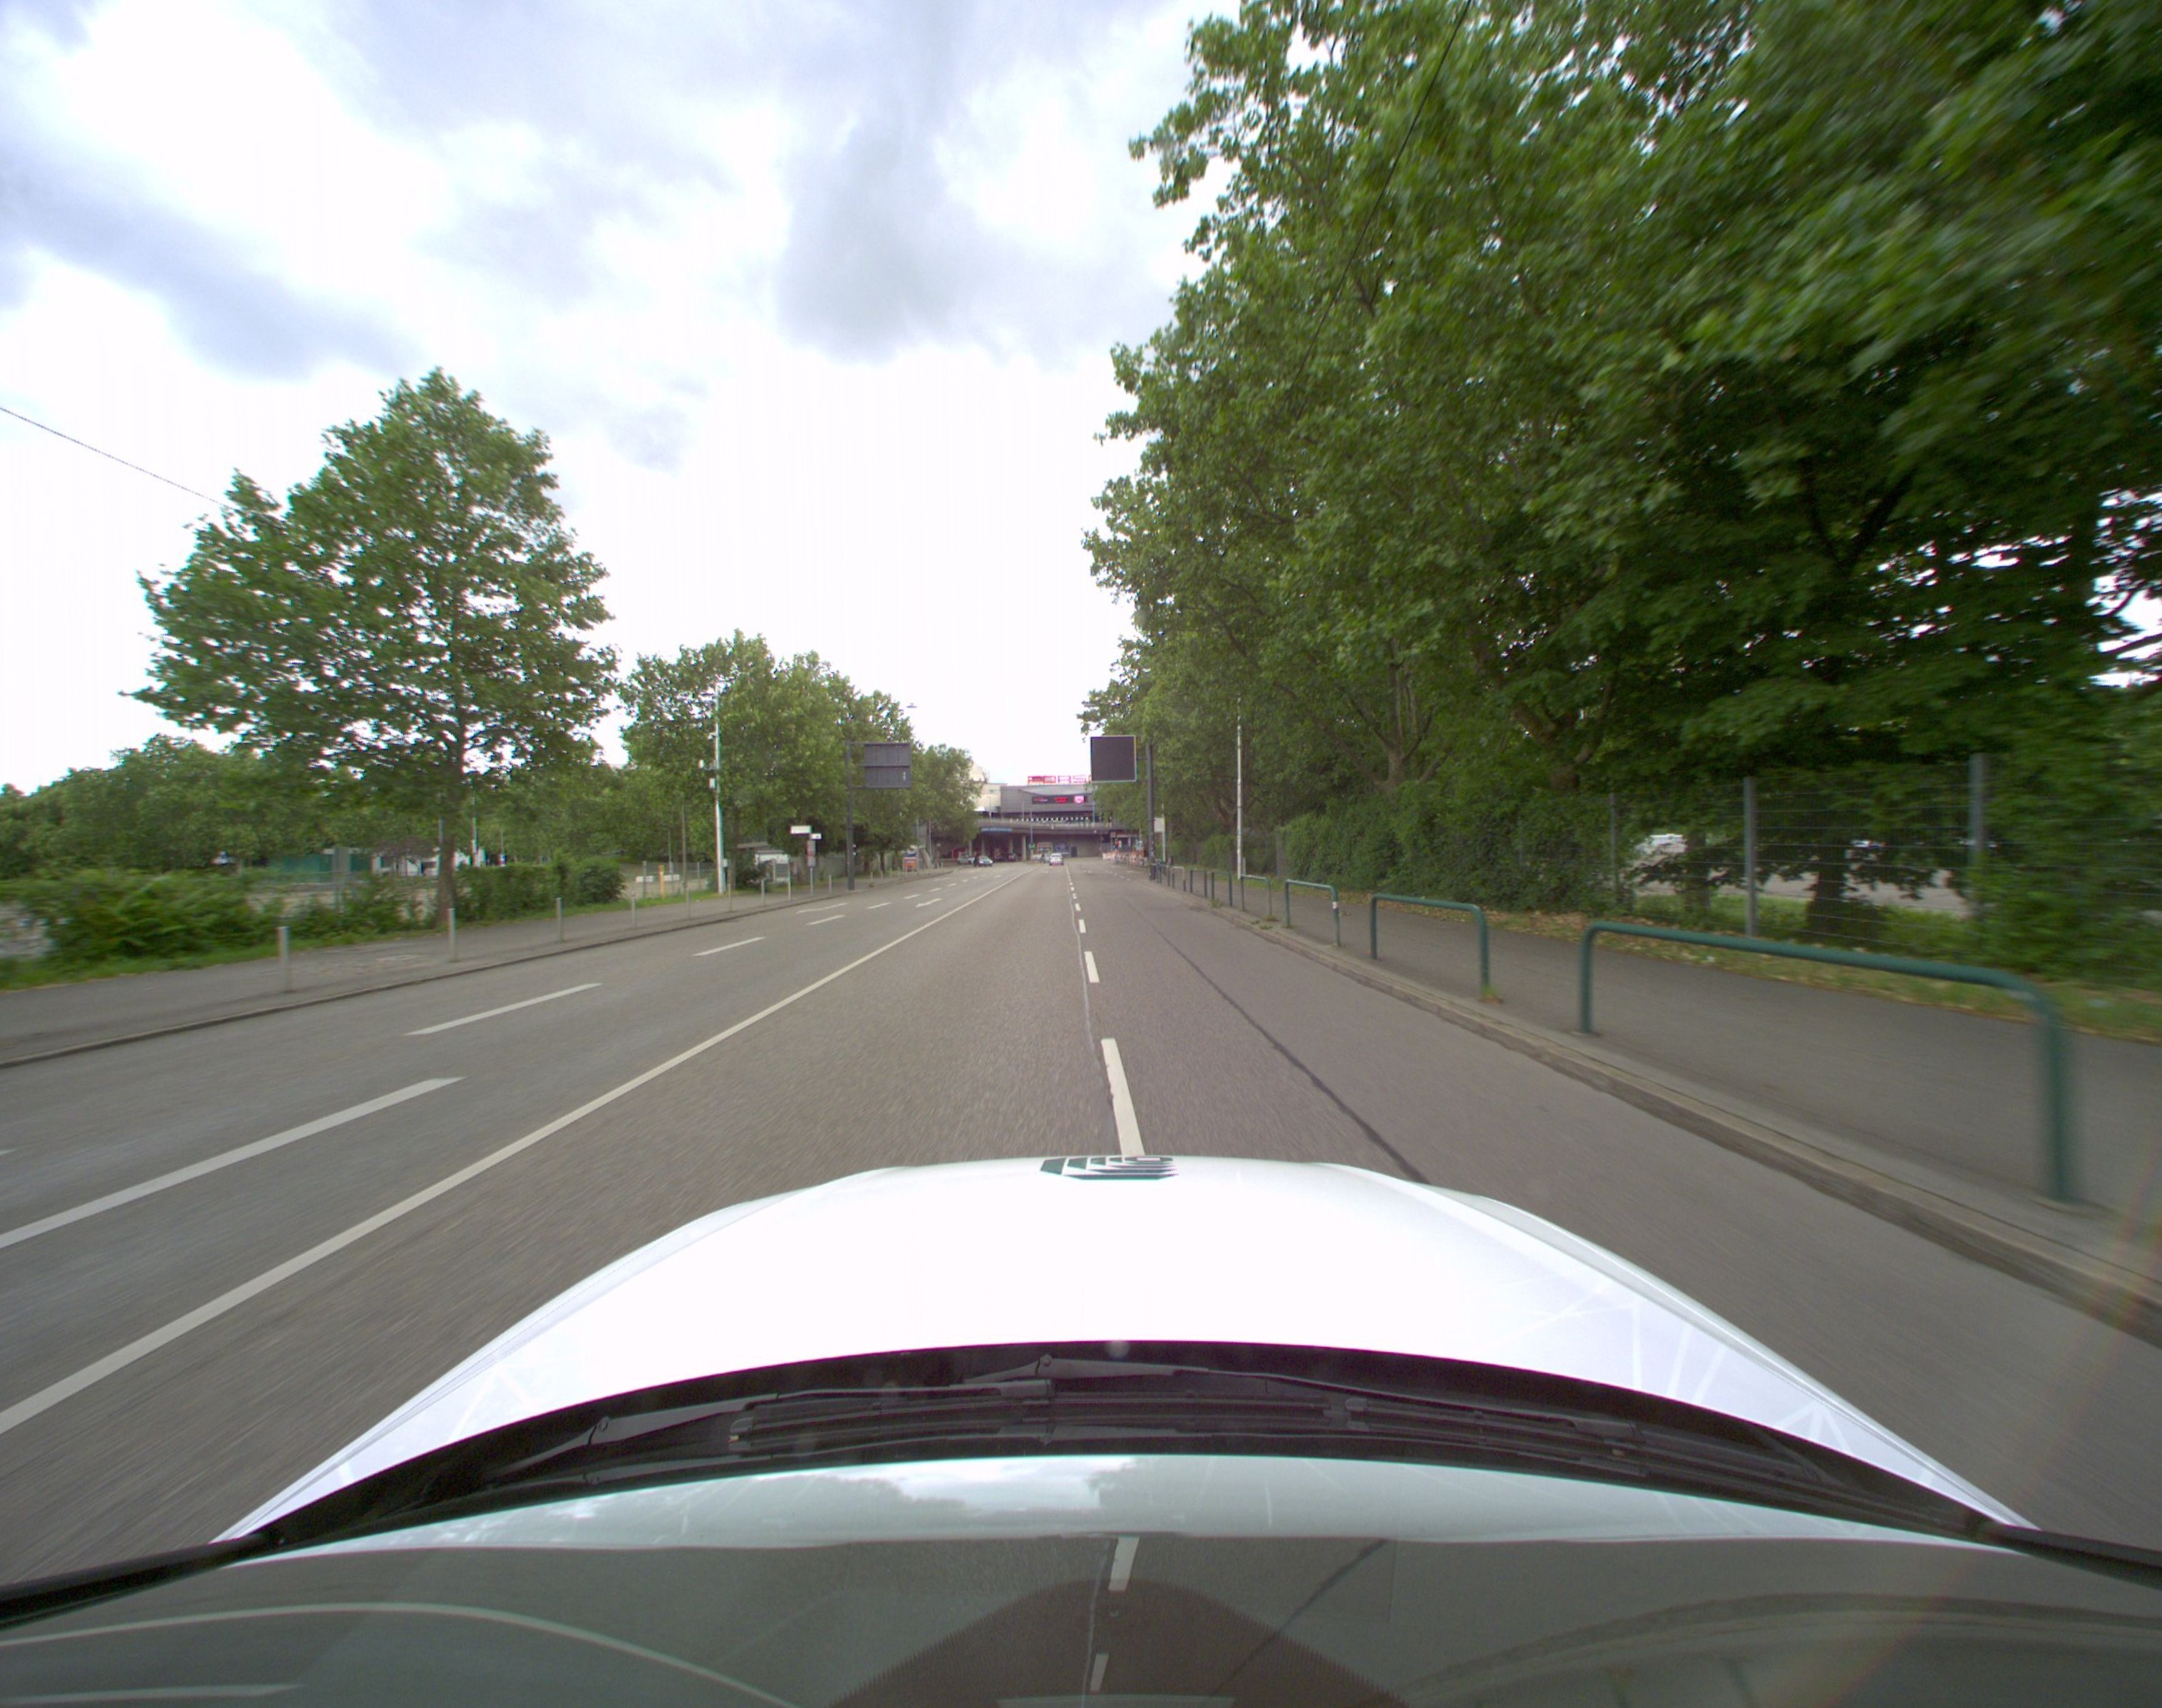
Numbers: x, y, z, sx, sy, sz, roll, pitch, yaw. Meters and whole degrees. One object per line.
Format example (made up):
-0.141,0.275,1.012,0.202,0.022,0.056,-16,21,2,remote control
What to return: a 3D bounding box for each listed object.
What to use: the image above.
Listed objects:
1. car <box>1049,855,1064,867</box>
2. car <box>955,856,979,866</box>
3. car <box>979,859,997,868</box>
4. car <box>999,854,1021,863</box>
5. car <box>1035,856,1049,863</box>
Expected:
-3.181,0.882,104.928,1.773,1.460,3.821,0,0,0,car
-18.303,1.111,130.669,3.832,1.578,1.636,-2,0,37,car
-12.747,1.295,111.511,1.661,1.272,3.561,0,0,-19,car
-12.202,0.772,140.449,2.009,1.486,3.955,-2,0,-37,car
-6.209,0.882,128.998,1.415,1.113,3.018,0,0,-19,car
